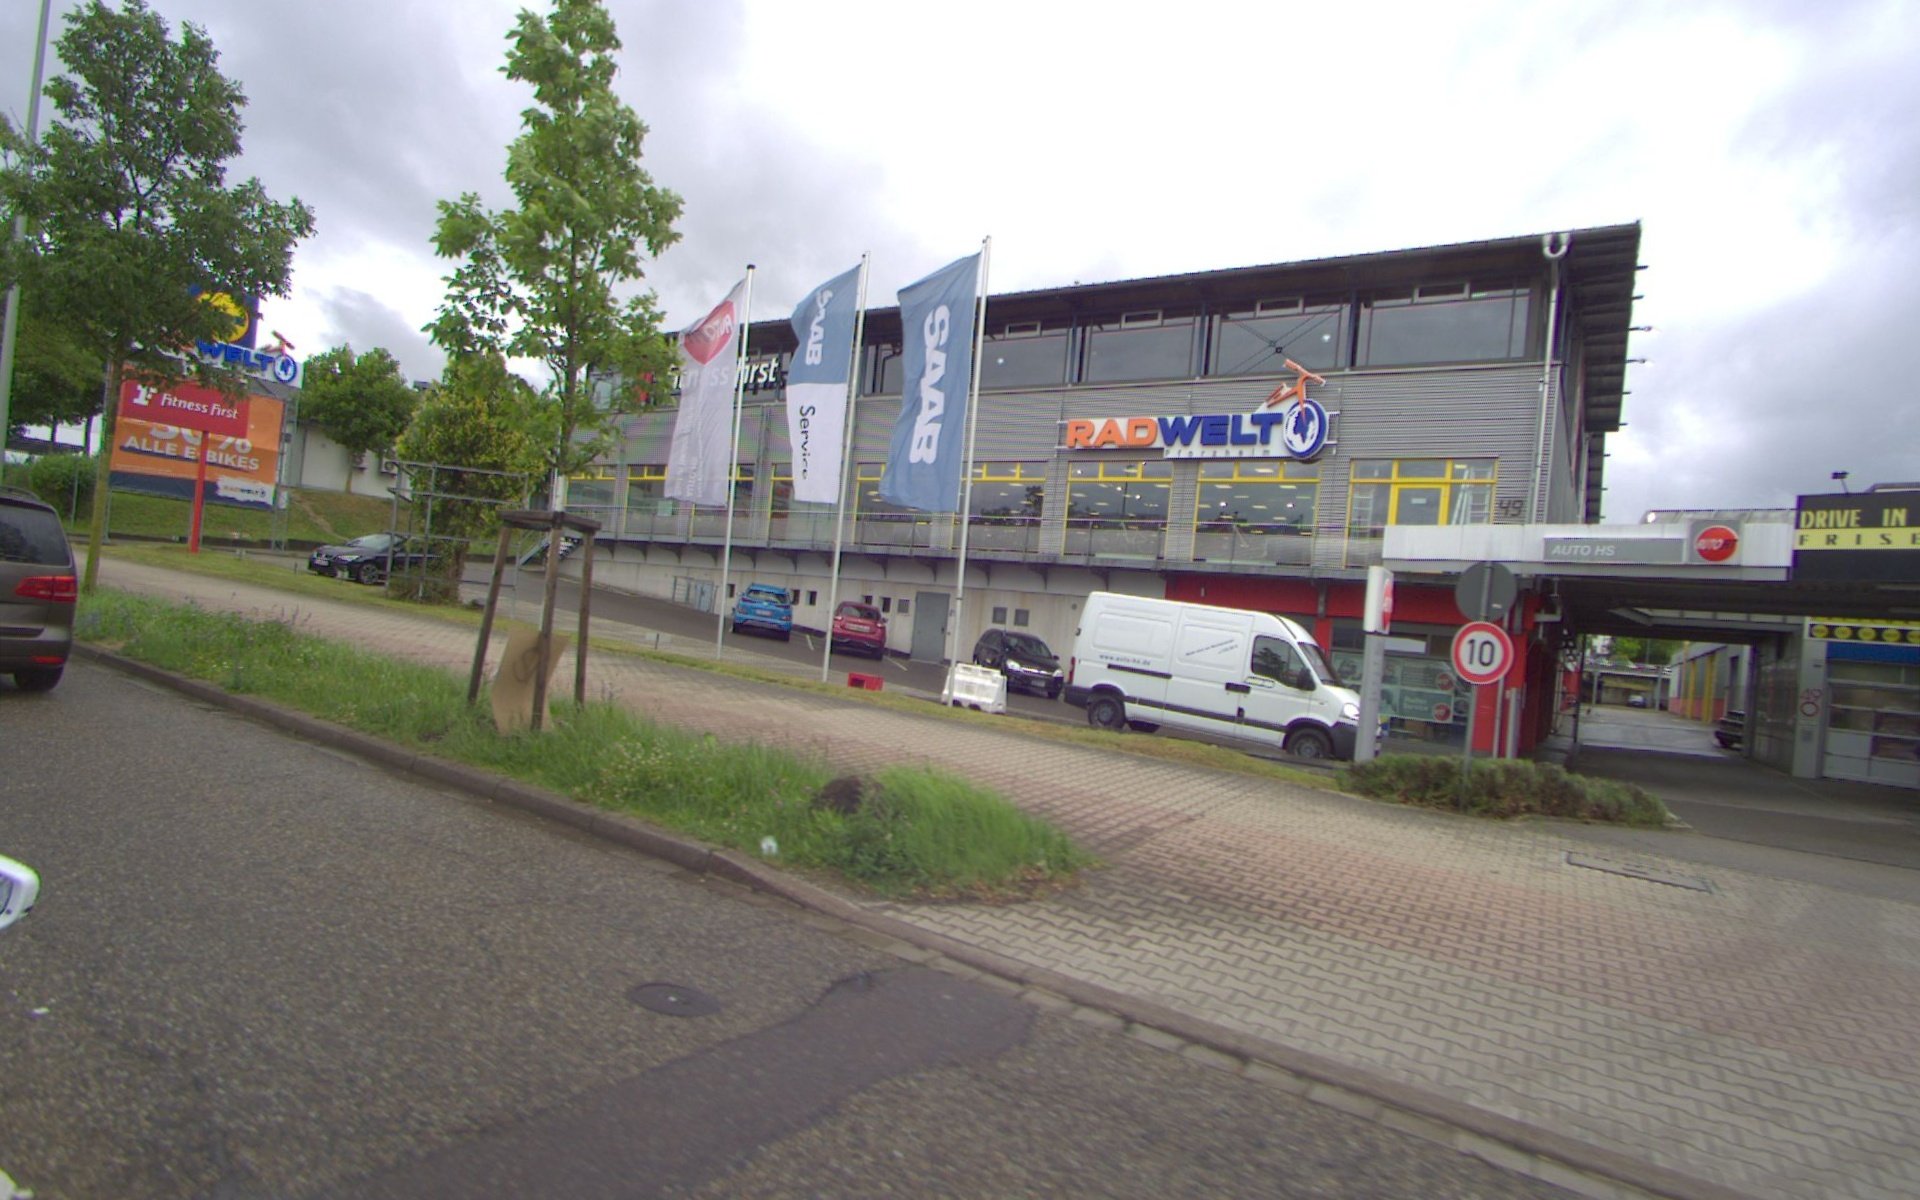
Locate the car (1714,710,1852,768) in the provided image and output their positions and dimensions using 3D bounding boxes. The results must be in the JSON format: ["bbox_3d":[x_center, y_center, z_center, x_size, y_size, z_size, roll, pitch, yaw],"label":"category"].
[{"bbox_3d":[32.066,5.382,39.244,3.947,1.528,1.790,6,-1,44],"label":"car"}]

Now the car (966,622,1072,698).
[{"bbox_3d":[1.496,1.561,27.365,1.712,1.488,4.250,9,0,-11],"label":"car"}]

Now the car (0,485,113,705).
[{"bbox_3d":[-8.980,-0.235,8.287,4.148,1.598,1.689,5,-3,31],"label":"car"}]

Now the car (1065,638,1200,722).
[{"bbox_3d":[4.307,1.974,25.902,1.756,1.488,4.248,8,0,-13],"label":"car"}]

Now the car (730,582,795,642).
[{"bbox_3d":[-6.320,0.337,32.511,1.711,1.578,3.903,8,0,-9],"label":"car"}]

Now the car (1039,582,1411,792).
[{"bbox_3d":[4.509,1.397,17.583,5.589,2.566,2.230,8,-1,34],"label":"car"}]

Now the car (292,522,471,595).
[{"bbox_3d":[-16.198,-1.119,28.416,1.763,1.456,4.104,9,0,20],"label":"car"}]

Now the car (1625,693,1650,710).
[{"bbox_3d":[71.706,10.754,106.445,1.773,1.528,3.986,7,-1,37],"label":"car"}]

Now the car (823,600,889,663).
[{"bbox_3d":[-3.247,0.908,30.983,1.710,1.520,3.868,9,0,-7],"label":"car"}]

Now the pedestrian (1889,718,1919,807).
[{"bbox_3d":[20.344,3.465,21.276,0.855,1.798,0.803,7,-1,-39],"label":"pedestrian"}]
